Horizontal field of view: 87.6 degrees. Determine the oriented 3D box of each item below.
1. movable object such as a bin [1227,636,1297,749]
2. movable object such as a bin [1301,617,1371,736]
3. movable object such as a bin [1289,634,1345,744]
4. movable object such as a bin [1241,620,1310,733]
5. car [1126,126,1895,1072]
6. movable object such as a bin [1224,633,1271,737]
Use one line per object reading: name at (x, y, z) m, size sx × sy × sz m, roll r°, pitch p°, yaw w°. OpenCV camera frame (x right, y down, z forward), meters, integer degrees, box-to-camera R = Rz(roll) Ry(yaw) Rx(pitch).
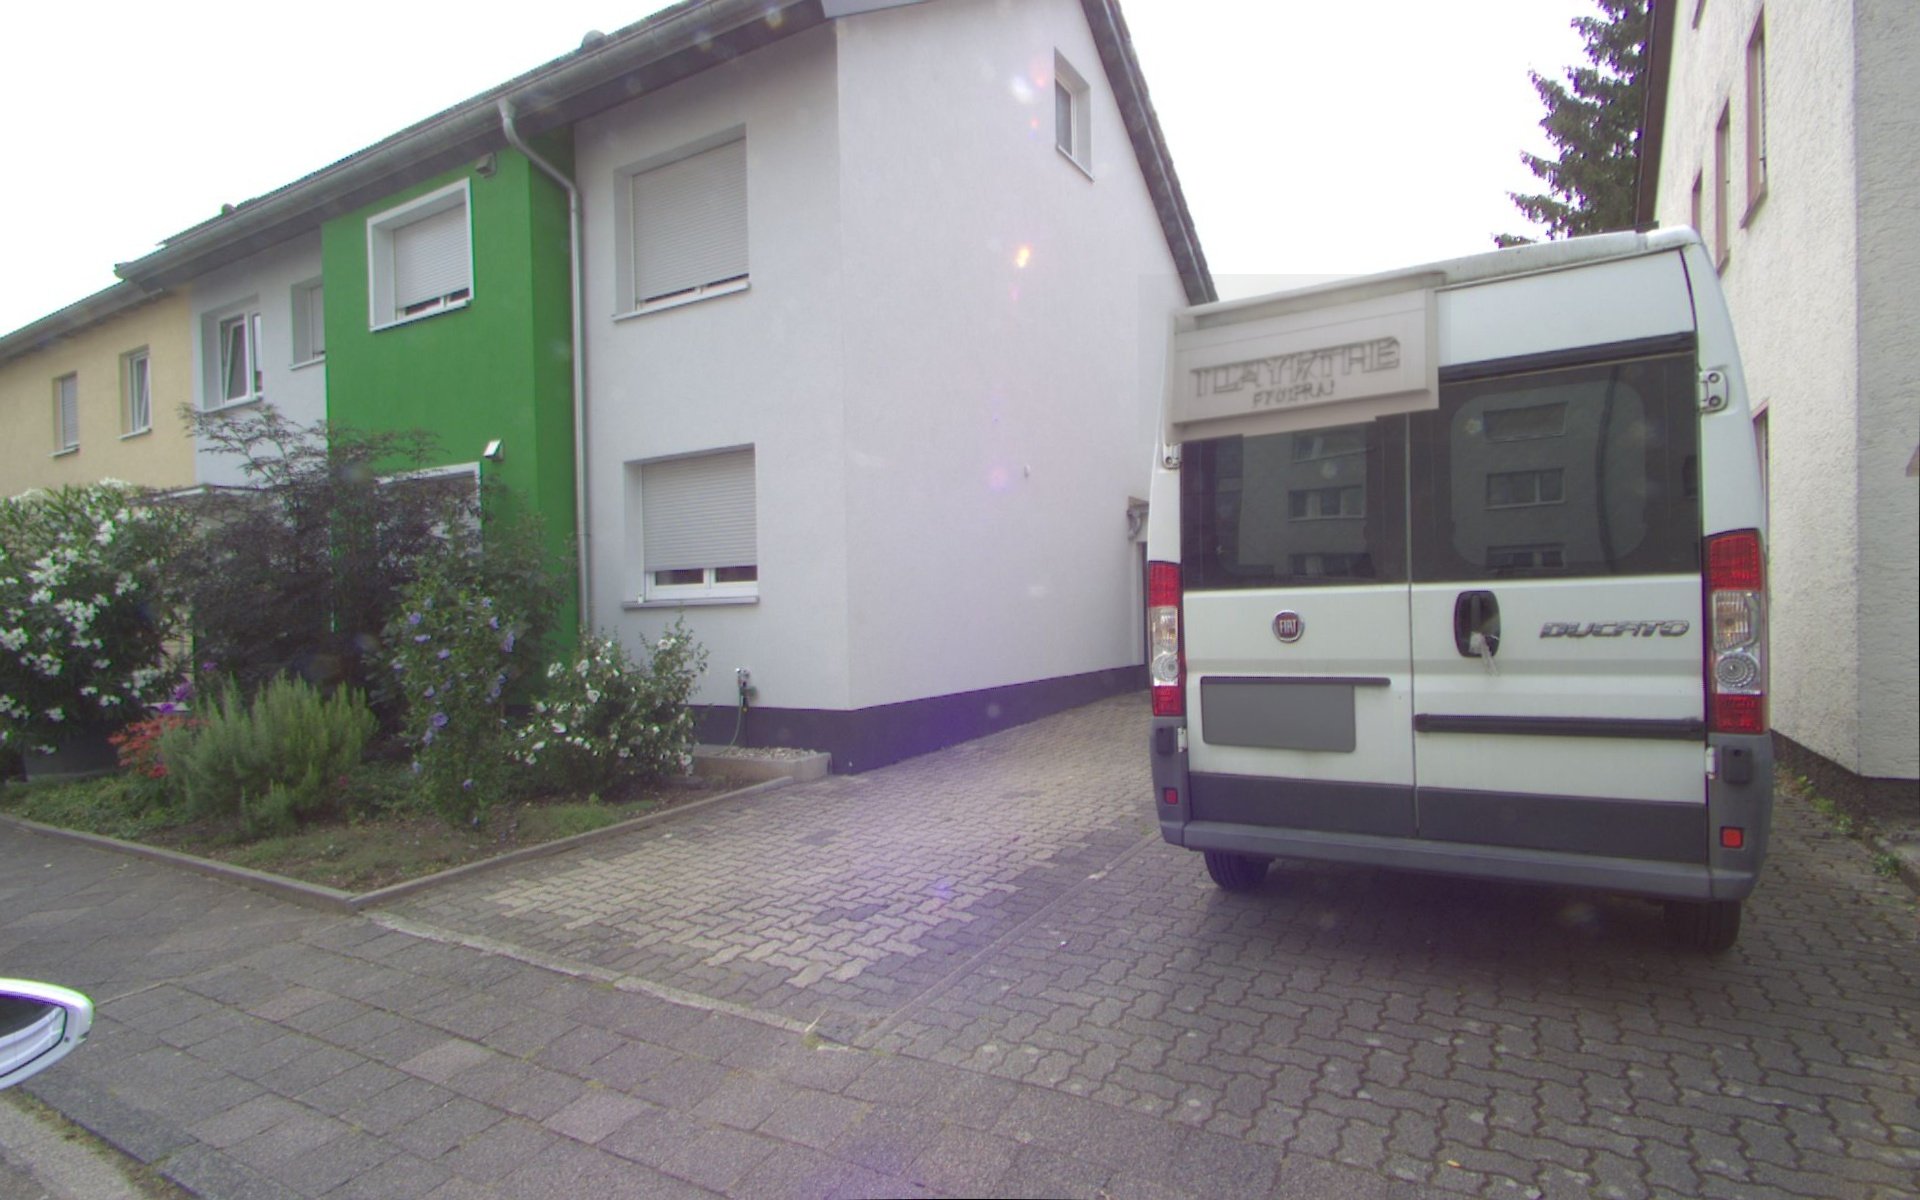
movable object such as a bin at (2.683, 0.803, 8.876) m, size 0.475 × 0.938 × 0.518 m, roll -1°, pitch 2°, yaw 30°
movable object such as a bin at (3.578, 0.709, 9.520) m, size 0.538 × 1.071 × 0.454 m, roll -1°, pitch 2°, yaw 30°
movable object such as a bin at (3.259, 0.798, 9.131) m, size 0.396 × 0.938 × 0.448 m, roll -1°, pitch 2°, yaw 30°
movable object such as a bin at (3.091, 0.735, 9.802) m, size 0.538 × 1.046 × 0.454 m, roll -1°, pitch 2°, yaw 30°
car at (2.903, -0.024, 5.486) m, size 2.205 × 2.576 × 5.077 m, roll -1°, pitch 1°, yaw 31°
movable object such as a bin at (2.723, 0.793, 9.468) m, size 0.333 × 0.938 × 0.354 m, roll -1°, pitch 2°, yaw 30°
